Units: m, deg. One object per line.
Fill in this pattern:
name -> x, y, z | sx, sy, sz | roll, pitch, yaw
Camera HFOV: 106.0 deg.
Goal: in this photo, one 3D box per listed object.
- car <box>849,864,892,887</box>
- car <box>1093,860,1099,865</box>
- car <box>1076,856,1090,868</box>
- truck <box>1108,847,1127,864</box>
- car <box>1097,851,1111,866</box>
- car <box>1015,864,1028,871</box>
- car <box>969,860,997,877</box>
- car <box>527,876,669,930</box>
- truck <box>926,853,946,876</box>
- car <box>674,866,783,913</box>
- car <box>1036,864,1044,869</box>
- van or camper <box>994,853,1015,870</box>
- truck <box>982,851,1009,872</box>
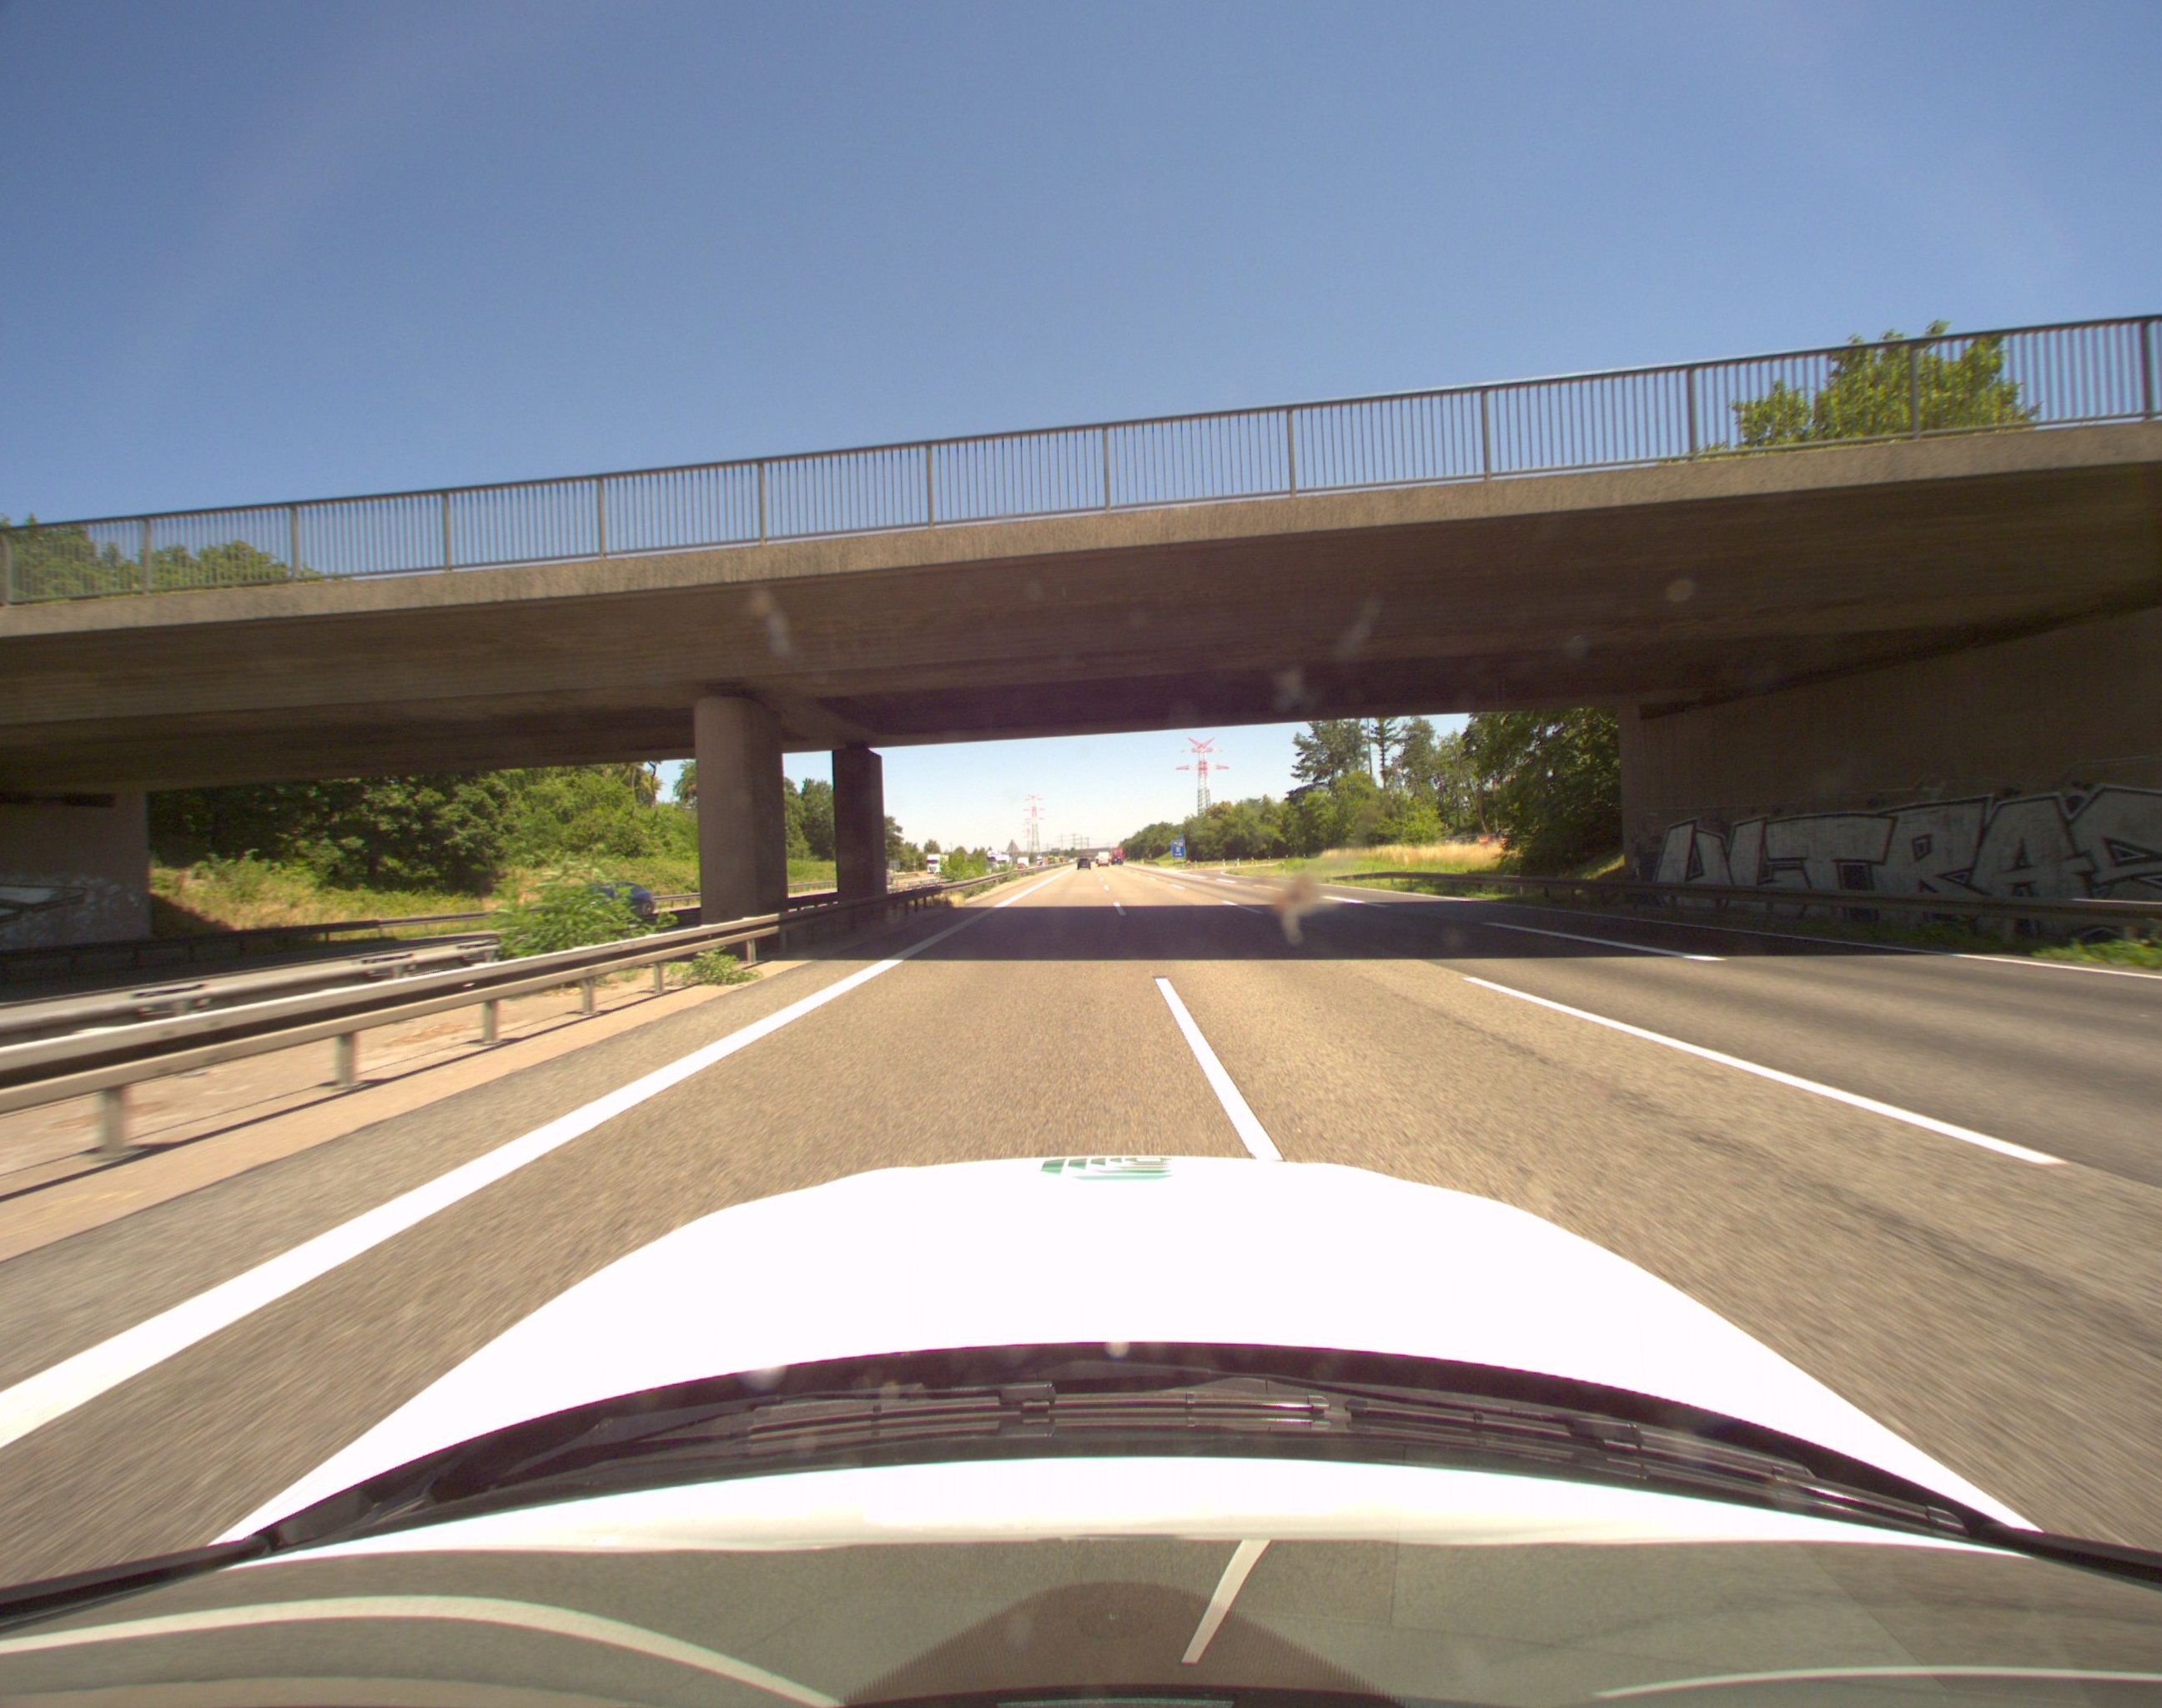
car -> -17.647, 1.791, 68.593 | 2.220, 1.610, 5.059 | -4, 0, 0
car -> 4.291, 2.469, 236.303 | 1.741, 1.634, 4.004 | -1, 0, 1
car -> 0.346, 1.176, 118.886 | 1.987, 1.750, 4.000 | -1, 0, 0
truck -> 8.843, 0.303, 199.172 | 4.316, 3.941, 16.080 | -1, 0, 1
car -> 4.311, 0.779, 153.384 | 2.612, 2.759, 6.096 | -1, 0, 1
car -> -12.816, 2.928, 175.344 | 2.220, 1.380, 4.691 | -4, 0, 0
car -> -10.345, 1.540, 86.581 | 2.220, 1.610, 5.059 | -4, 0, 0
car -> -18.043, 1.763, 30.777 | 2.220, 1.610, 5.059 | -4, 0, 0
truck -> -32.037, 2.318, 180.063 | 3.063, 4.827, 7.709 | -5, 0, -2
car -> -14.563, 1.408, 34.011 | 2.220, 1.610, 5.059 | -4, 0, 0
car -> -12.493, 3.713, 249.163 | 2.220, 1.380, 4.890 | -4, 0, 0
van or camper -> -13.359, 1.352, 142.300 | 2.492, 2.810, 8.564 | -2, -1, 2
truck -> -17.620, 1.599, 168.840 | 3.314, 3.996, 16.868 | -2, -1, 1
